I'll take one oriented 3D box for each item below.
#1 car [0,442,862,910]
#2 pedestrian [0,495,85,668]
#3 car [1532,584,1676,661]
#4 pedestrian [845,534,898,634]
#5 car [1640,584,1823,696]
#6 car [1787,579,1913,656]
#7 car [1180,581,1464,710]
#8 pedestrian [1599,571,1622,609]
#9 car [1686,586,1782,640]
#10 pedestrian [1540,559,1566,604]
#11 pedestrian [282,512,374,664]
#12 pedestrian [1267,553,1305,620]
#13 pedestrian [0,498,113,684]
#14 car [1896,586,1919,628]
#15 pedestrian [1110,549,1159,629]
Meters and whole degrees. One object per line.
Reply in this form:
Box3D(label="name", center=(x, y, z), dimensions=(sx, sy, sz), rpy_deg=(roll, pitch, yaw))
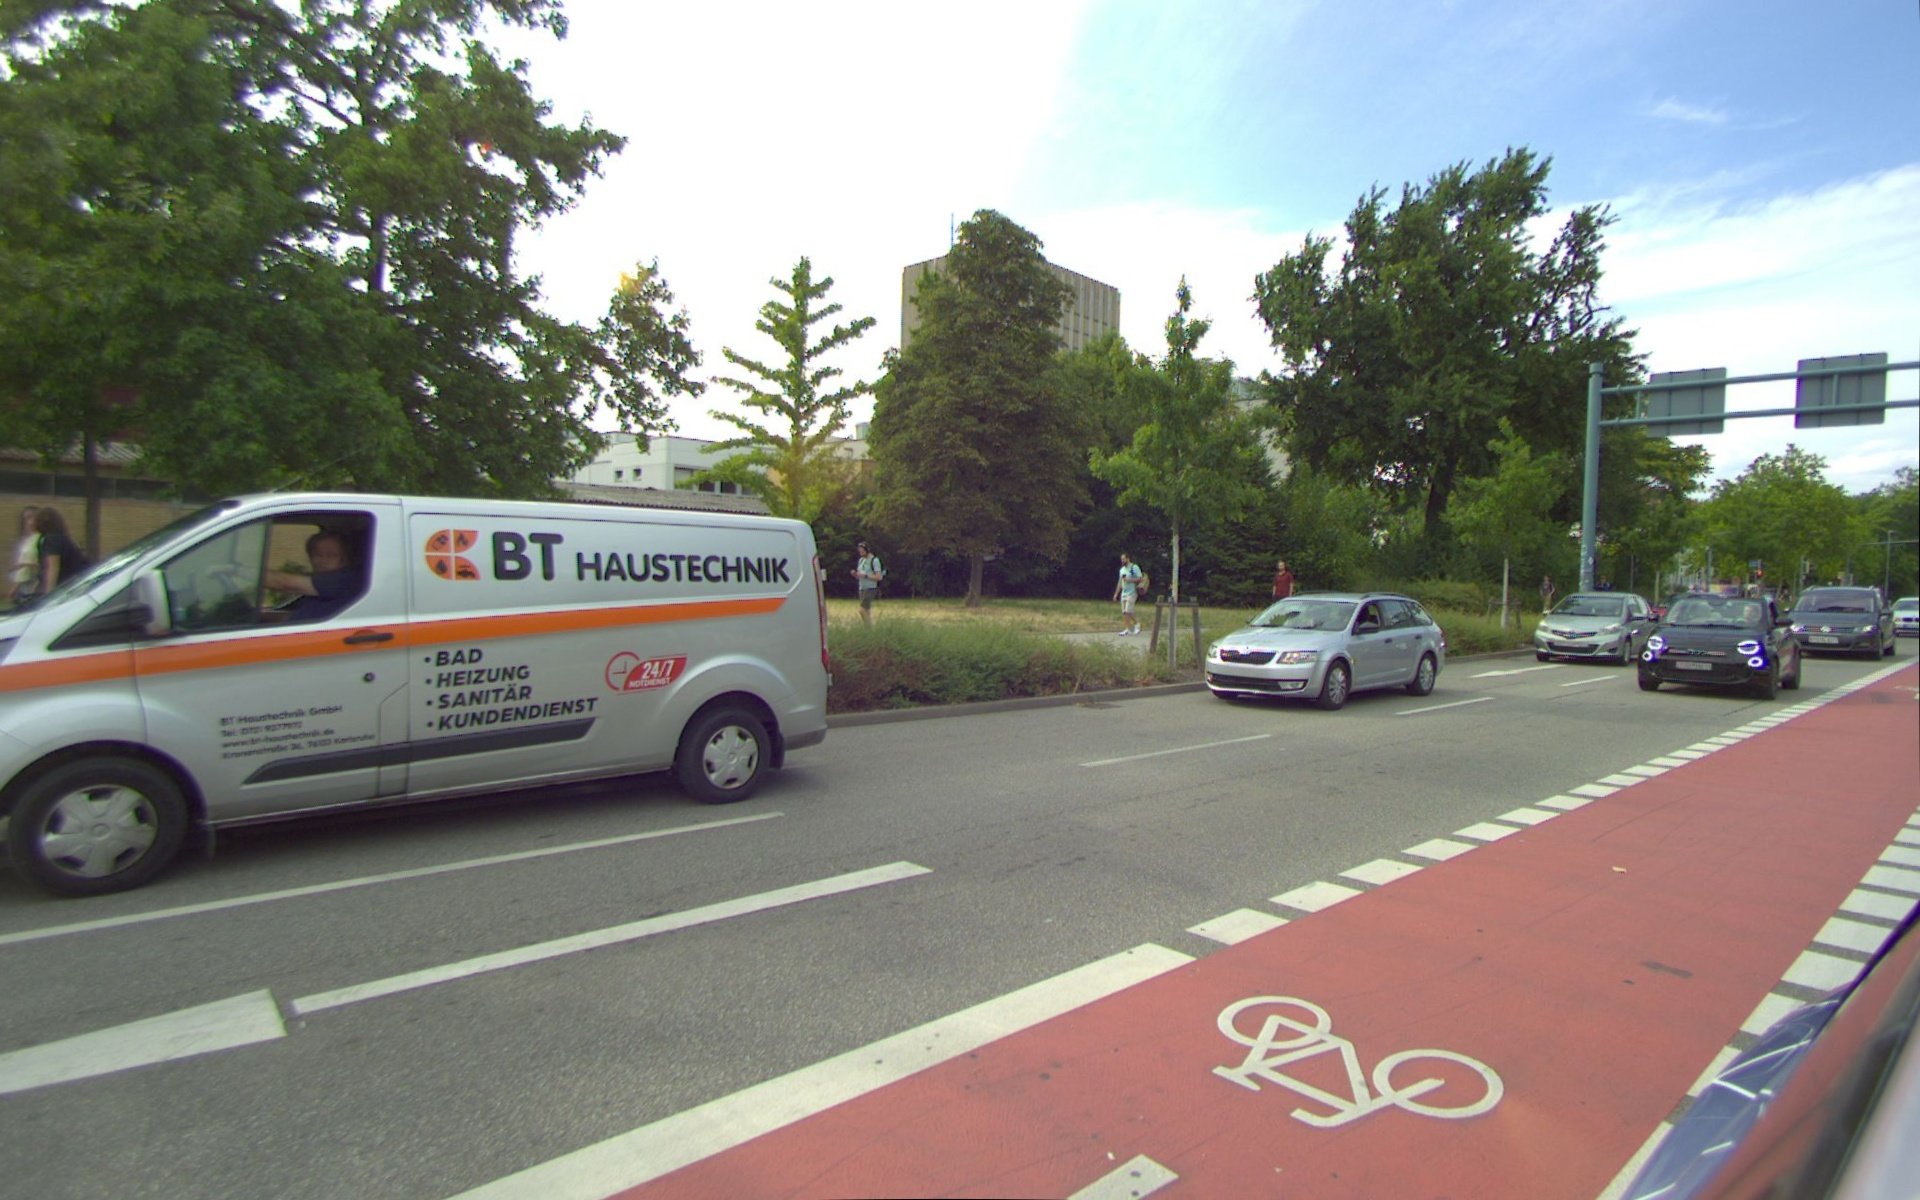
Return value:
Box3D(label="car", center=(-3.205, 0.285, 6.301), dimensions=(5.116, 1.984, 1.822), rpy_deg=(-1, 1, -42))
Box3D(label="pedestrian", center=(-9.809, -0.196, 10.597), dimensions=(0.834, 1.732, 0.790), rpy_deg=(0, 1, 34))
Box3D(label="car", center=(13.913, 0.415, 21.799), dimensions=(3.809, 1.508, 1.668), rpy_deg=(-1, 1, -42))
Box3D(label="pedestrian", center=(-1.571, -0.291, 17.972), dimensions=(0.543, 1.716, 0.684), rpy_deg=(5, 4, 45))
Box3D(label="car", center=(12.065, 0.528, 15.762), dimensions=(3.382, 1.508, 1.669), rpy_deg=(-1, 2, -42))
Box3D(label="car", center=(21.416, 0.341, 24.287), dimensions=(4.606, 1.671, 1.757), rpy_deg=(-1, 1, -42))
Box3D(label="car", center=(5.117, 0.494, 13.995), dimensions=(4.451, 1.492, 1.822), rpy_deg=(-1, 1, -42))
Box3D(label="pedestrian", center=(29.275, -0.454, 45.550), dimensions=(0.683, 1.732, 0.713), rpy_deg=(0, 1, -42))
Box3D(label="car", center=(22.019, 0.316, 28.753), dimensions=(3.400, 1.433, 1.667), rpy_deg=(-1, 1, -44))
Box3D(label="pedestrian", center=(23.106, -0.735, 39.425), dimensions=(0.683, 1.732, 0.713), rpy_deg=(0, 1, -42))
Box3D(label="pedestrian", center=(-7.540, -0.142, 12.077), dimensions=(0.712, 1.732, 0.787), rpy_deg=(0, 1, 45))
Box3D(label="pedestrian", center=(8.655, -0.359, 26.867), dimensions=(0.683, 1.732, 0.713), rpy_deg=(0, 1, -42))
Box3D(label="pedestrian", center=(-9.012, -0.090, 9.990), dimensions=(0.834, 1.732, 0.790), rpy_deg=(0, 1, 34))
Box3D(label="car", center=(35.172, 0.228, 36.472), dimensions=(4.151, 1.476, 1.757), rpy_deg=(-1, 1, -42))
Box3D(label="pedestrian", center=(3.905, -0.246, 22.628), dimensions=(0.684, 1.732, 0.840), rpy_deg=(-1, 1, -45))
